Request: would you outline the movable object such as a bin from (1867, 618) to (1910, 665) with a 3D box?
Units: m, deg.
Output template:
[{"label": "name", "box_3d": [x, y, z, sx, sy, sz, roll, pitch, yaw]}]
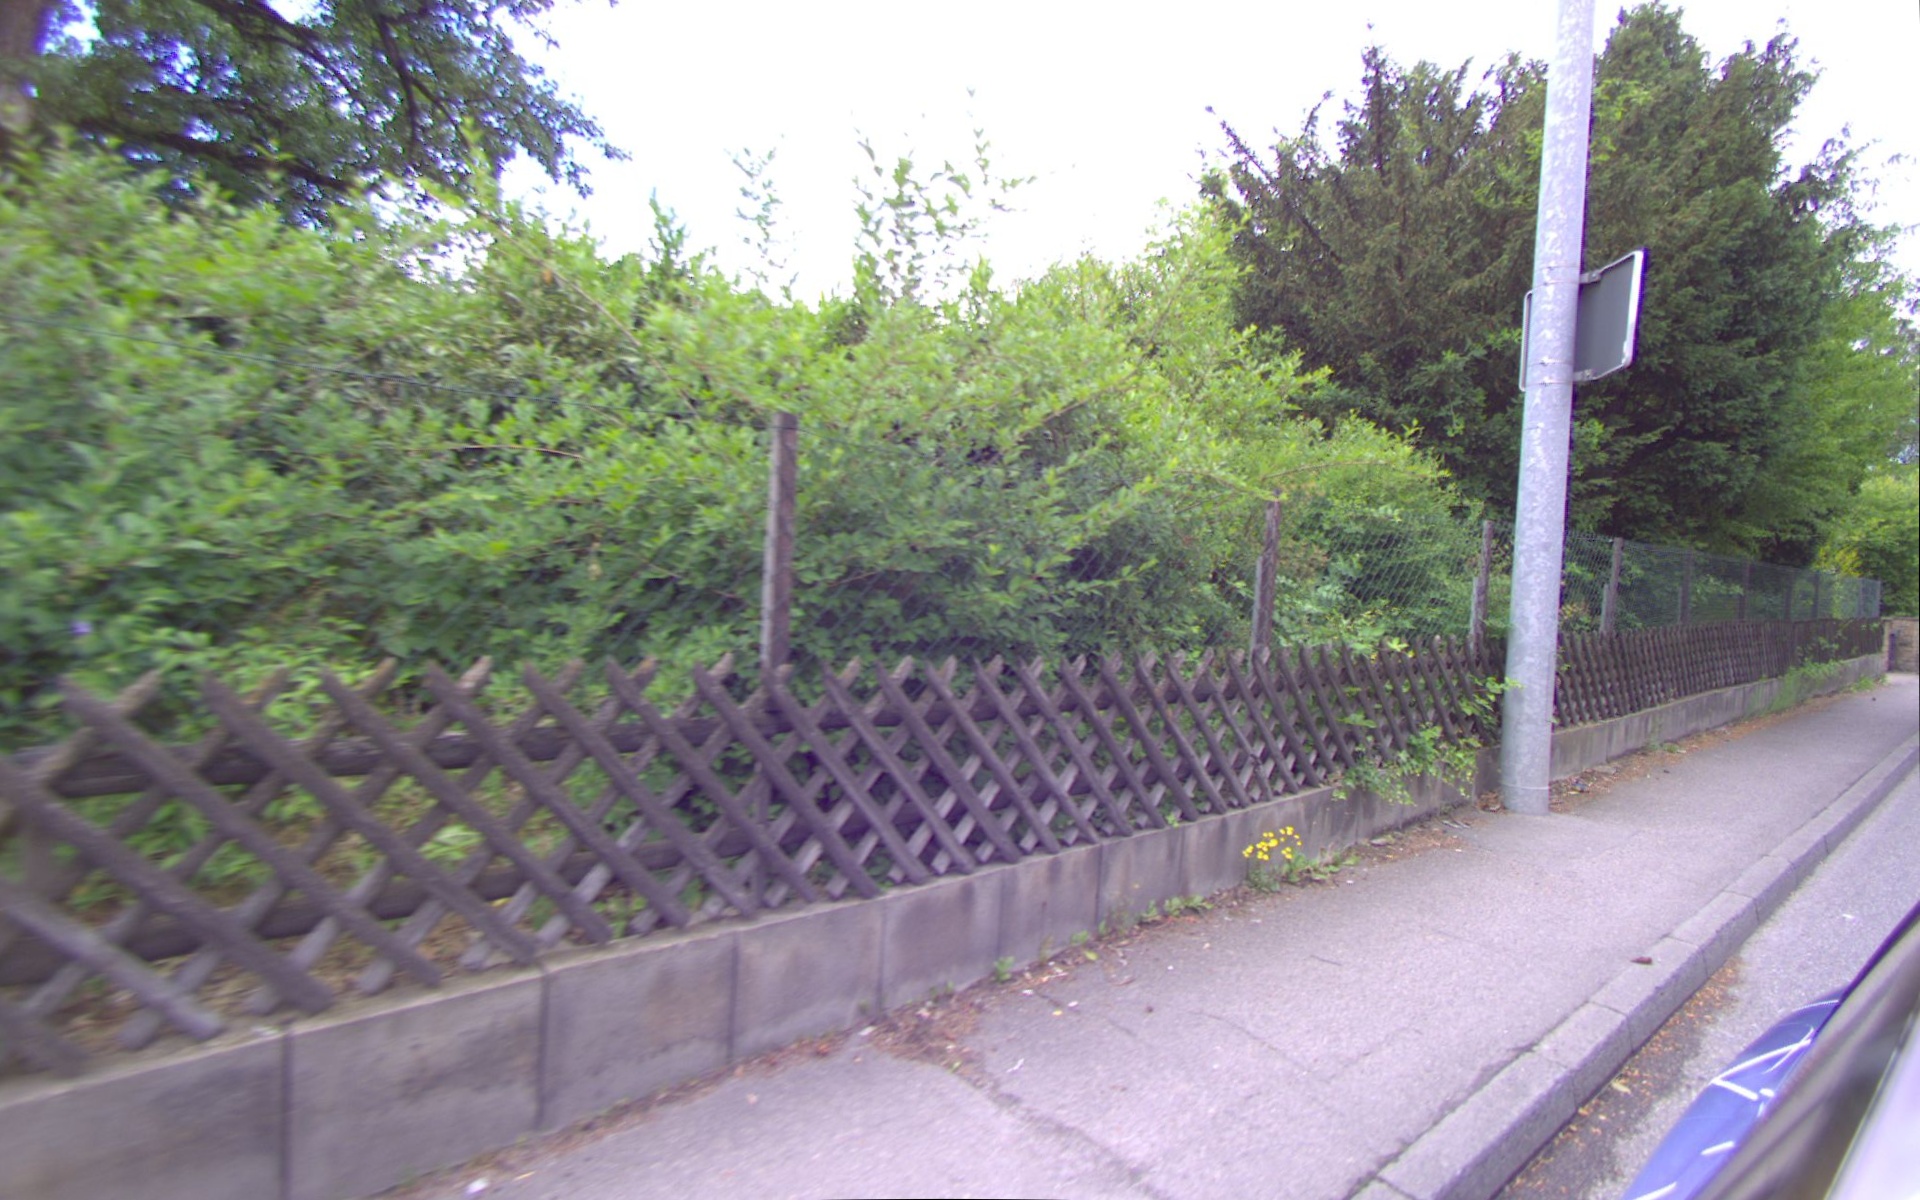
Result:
[{"label": "movable object such as a bin", "box_3d": [22.114, 0.983, 24.106, 0.534, 1.058, 0.505, 5, 1, 22]}]
